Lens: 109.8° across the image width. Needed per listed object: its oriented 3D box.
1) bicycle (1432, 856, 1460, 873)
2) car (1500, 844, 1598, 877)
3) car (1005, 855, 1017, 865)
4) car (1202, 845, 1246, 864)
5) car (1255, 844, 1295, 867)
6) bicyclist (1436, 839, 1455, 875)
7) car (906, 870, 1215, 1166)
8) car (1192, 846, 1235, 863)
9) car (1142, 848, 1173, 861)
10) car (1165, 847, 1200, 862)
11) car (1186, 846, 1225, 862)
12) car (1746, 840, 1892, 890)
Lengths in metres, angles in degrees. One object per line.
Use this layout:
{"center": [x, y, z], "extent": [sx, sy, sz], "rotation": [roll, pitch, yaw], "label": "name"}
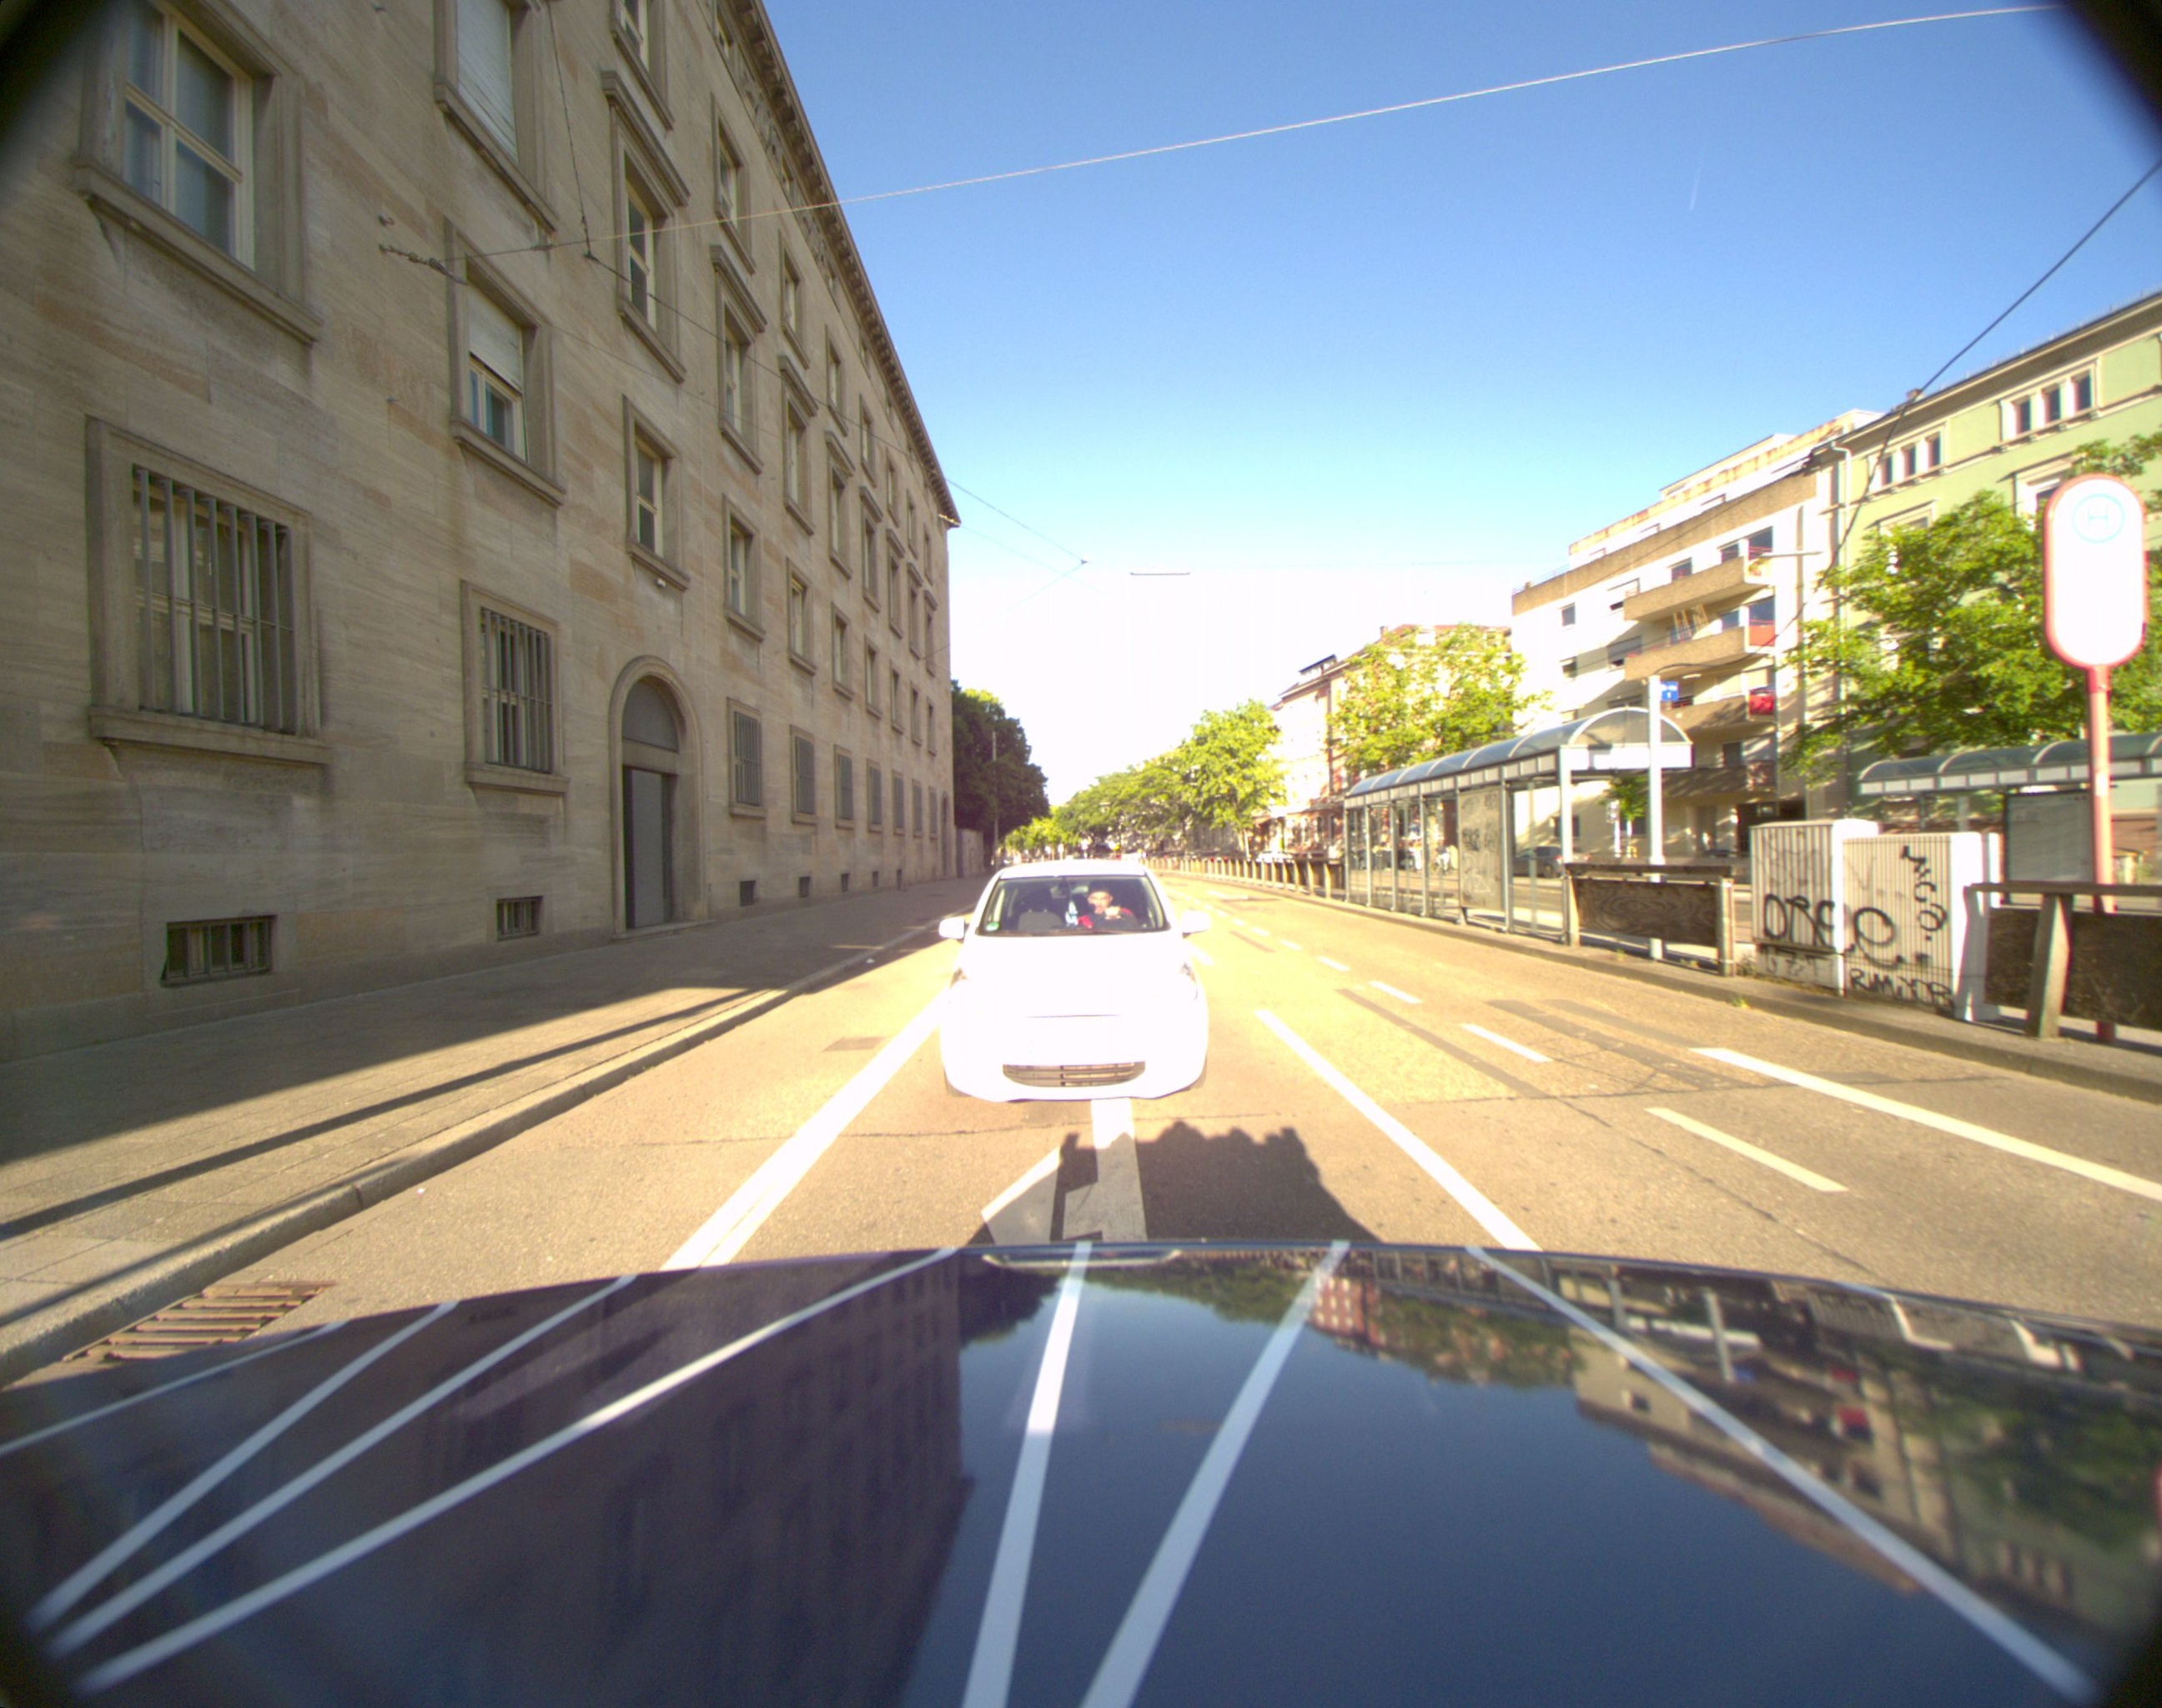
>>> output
{"center": [18.204, 0.532, 37.948], "extent": [0.536, 0.782, 1.853], "rotation": [-1, -2, 1], "label": "bicycle"}
{"center": [20.852, 0.267, 33.970], "extent": [1.615, 1.387, 3.516], "rotation": [-1, 0, -19], "label": "car"}
{"center": [-13.673, 1.159, 148.196], "extent": [2.000, 1.761, 3.996], "rotation": [-1, 0, -9], "label": "car"}
{"center": [13.660, 0.045, 72.731], "extent": [3.996, 1.674, 2.000], "rotation": [-1, 0, 4], "label": "car"}
{"center": [16.324, 0.087, 63.815], "extent": [1.994, 1.713, 4.007], "rotation": [0, 2, 34], "label": "car"}
{"center": [18.194, 0.174, 37.939], "extent": [0.536, 1.750, 0.771], "rotation": [-1, -2, 1], "label": "bicyclist"}
{"center": [-0.084, 0.911, 5.857], "extent": [1.612, 1.450, 3.667], "rotation": [-1, 0, 1], "label": "car"}
{"center": [13.375, 0.026, 76.865], "extent": [3.996, 1.674, 2.000], "rotation": [-1, 0, 4], "label": "car"}
{"center": [9.597, 0.026, 95.856], "extent": [3.864, 1.583, 2.000], "rotation": [-1, 0, 4], "label": "car"}
{"center": [11.465, 0.049, 86.229], "extent": [3.864, 1.583, 2.001], "rotation": [-1, 0, 5], "label": "car"}
{"center": [13.184, -0.006, 80.668], "extent": [3.996, 1.674, 2.000], "rotation": [-1, 0, 4], "label": "car"}
{"center": [23.937, 0.328, 24.685], "extent": [3.796, 1.526, 1.772], "rotation": [-1, 0, -17], "label": "car"}
